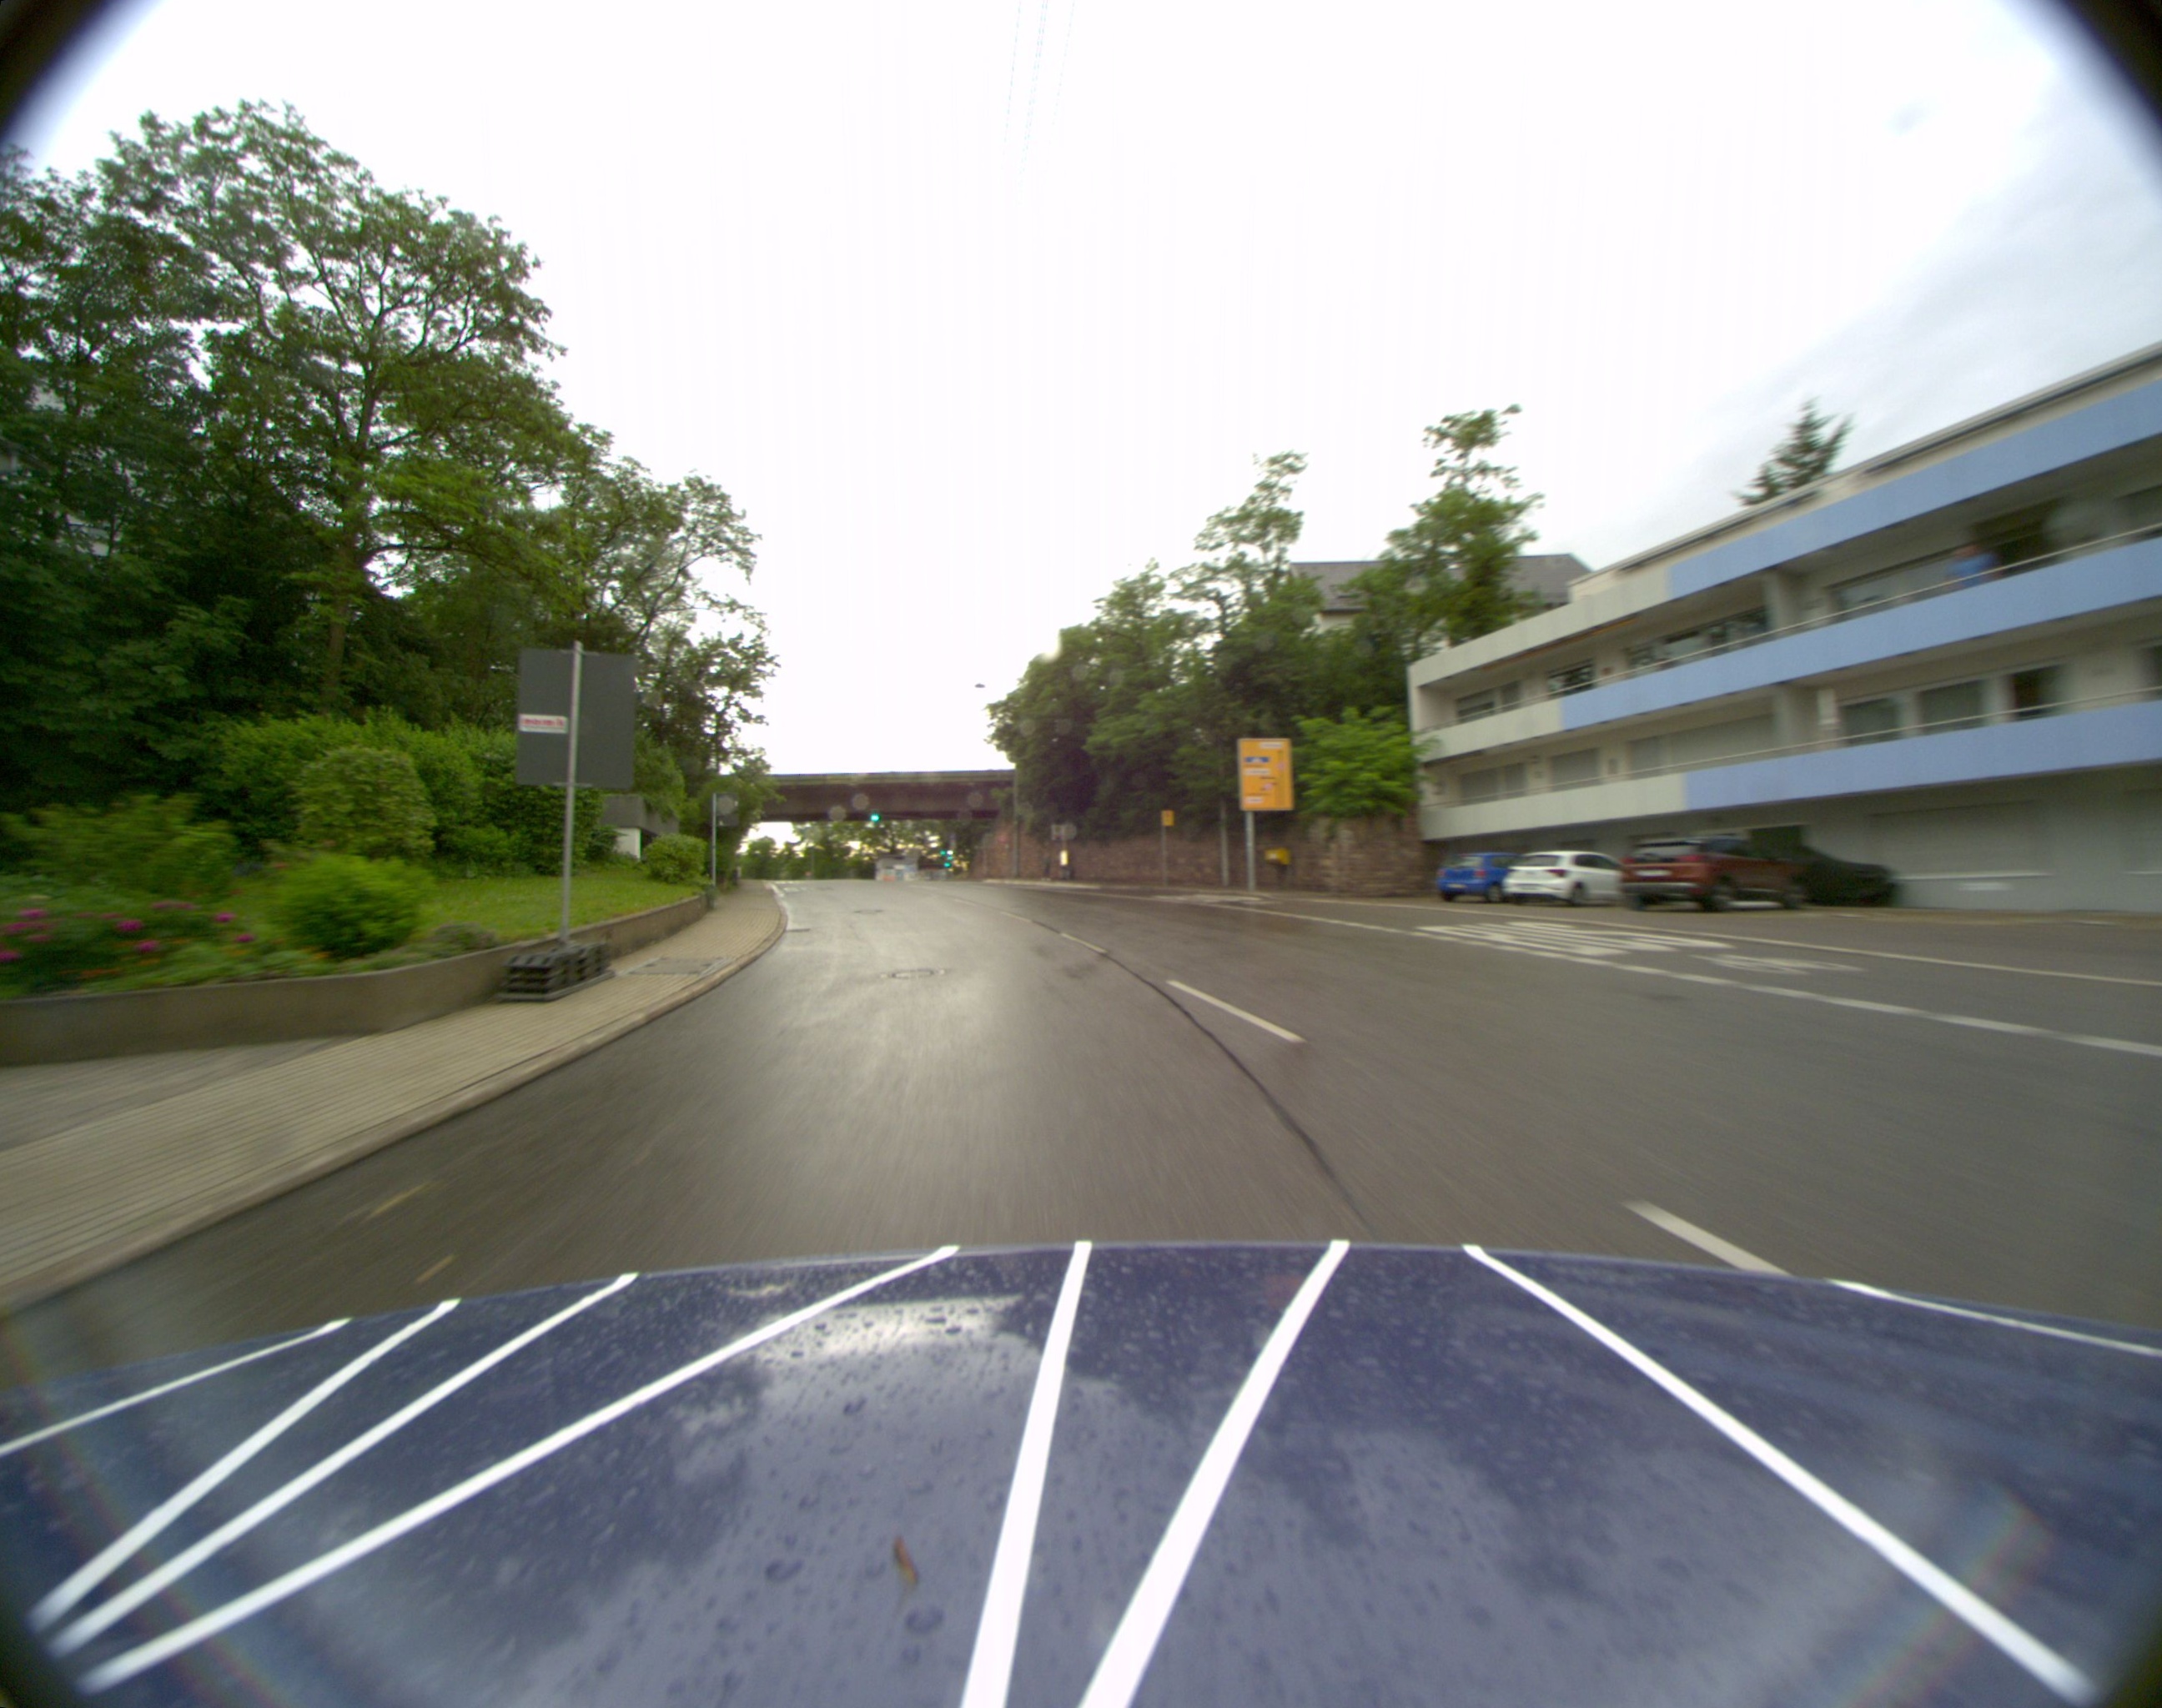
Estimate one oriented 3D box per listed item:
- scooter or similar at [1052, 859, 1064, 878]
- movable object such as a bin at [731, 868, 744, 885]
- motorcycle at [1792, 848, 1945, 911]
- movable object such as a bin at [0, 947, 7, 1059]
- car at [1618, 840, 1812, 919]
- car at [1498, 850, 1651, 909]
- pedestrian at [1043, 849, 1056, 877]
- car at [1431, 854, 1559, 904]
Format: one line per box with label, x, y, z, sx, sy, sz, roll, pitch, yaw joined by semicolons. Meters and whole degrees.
scooter or similar;-1.448;0.923;47.759;0.375;1.175;1.123;-2;2;-23
movable object such as a bin;-15.881;1.040;35.131;0.508;0.784;0.501;-2;2;-26
motorcycle;17.551;0.534;17.005;0.575;1.303;2.329;-3;2;-38
movable object such as a bin;-9.734;1.314;6.342;0.532;1.007;0.689;-2;1;-14
car;13.744;0.523;16.471;3.941;1.540;1.712;0;-1;-25
car;12.946;0.680;19.948;3.446;1.436;1.705;1;-2;-23
pedestrian;-1.945;0.547;47.060;0.590;1.722;0.621;-2;2;-25
car;12.200;0.713;22.377;3.447;1.382;1.633;1;0;-27
